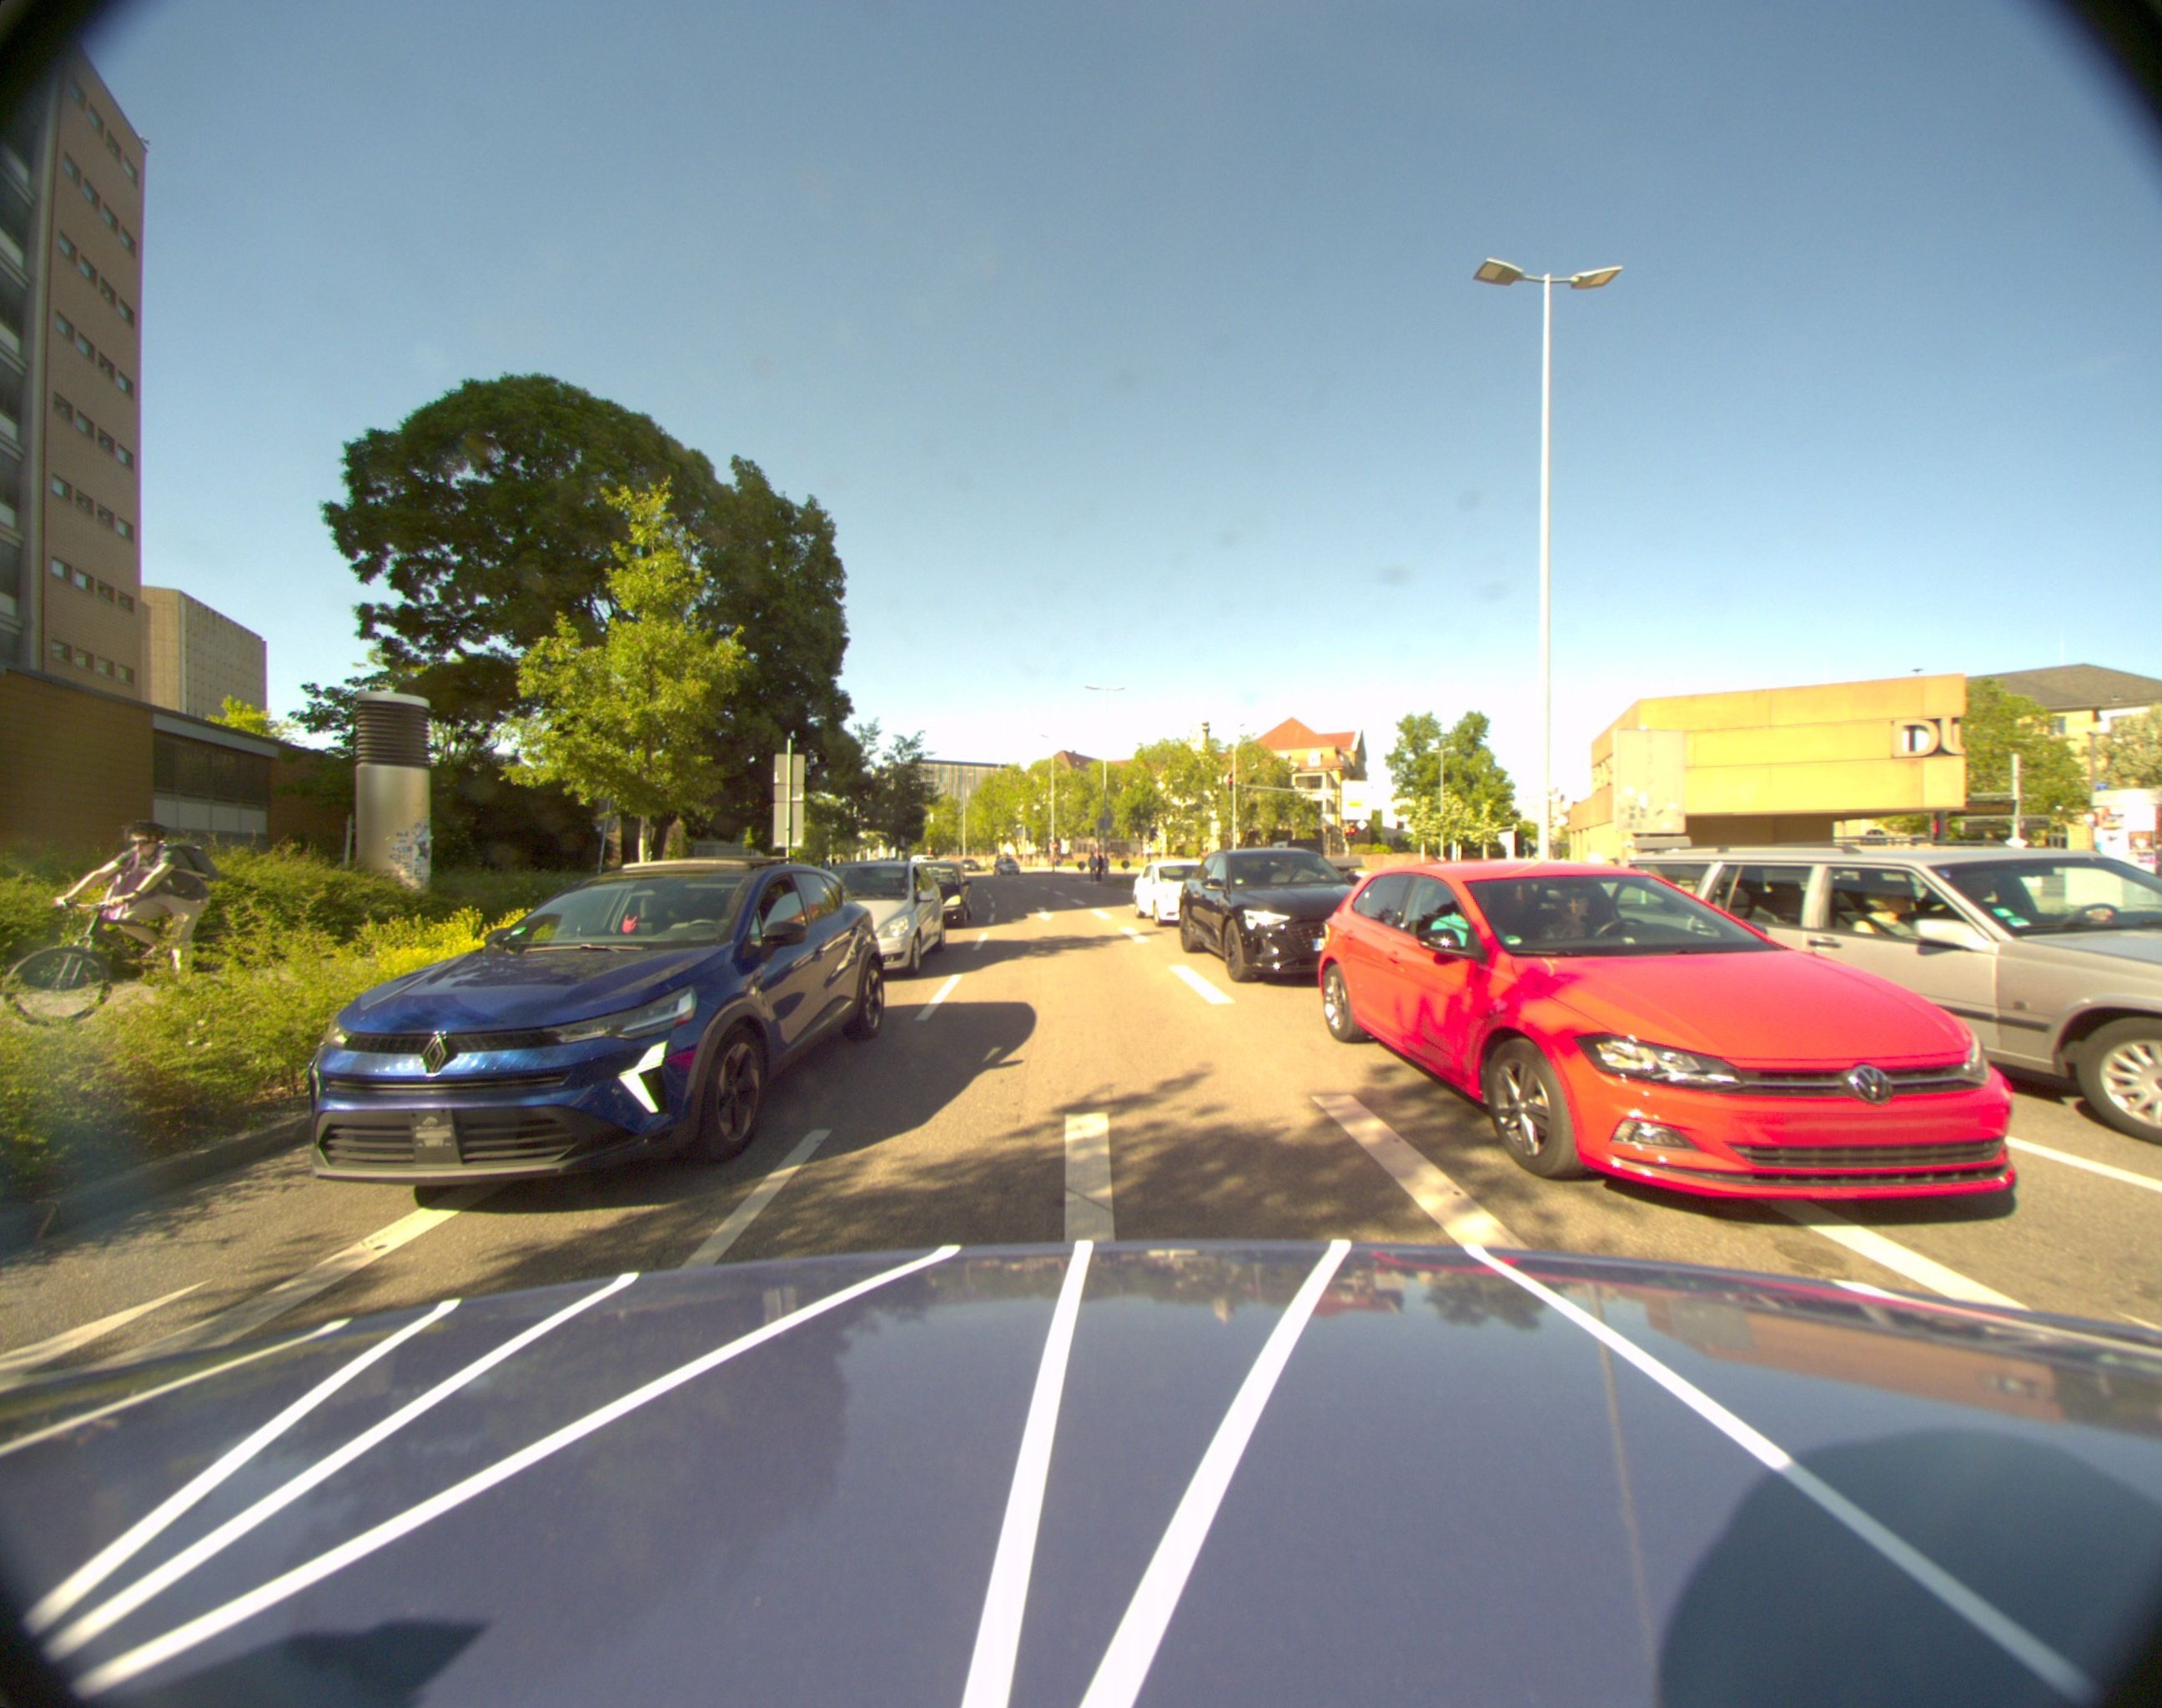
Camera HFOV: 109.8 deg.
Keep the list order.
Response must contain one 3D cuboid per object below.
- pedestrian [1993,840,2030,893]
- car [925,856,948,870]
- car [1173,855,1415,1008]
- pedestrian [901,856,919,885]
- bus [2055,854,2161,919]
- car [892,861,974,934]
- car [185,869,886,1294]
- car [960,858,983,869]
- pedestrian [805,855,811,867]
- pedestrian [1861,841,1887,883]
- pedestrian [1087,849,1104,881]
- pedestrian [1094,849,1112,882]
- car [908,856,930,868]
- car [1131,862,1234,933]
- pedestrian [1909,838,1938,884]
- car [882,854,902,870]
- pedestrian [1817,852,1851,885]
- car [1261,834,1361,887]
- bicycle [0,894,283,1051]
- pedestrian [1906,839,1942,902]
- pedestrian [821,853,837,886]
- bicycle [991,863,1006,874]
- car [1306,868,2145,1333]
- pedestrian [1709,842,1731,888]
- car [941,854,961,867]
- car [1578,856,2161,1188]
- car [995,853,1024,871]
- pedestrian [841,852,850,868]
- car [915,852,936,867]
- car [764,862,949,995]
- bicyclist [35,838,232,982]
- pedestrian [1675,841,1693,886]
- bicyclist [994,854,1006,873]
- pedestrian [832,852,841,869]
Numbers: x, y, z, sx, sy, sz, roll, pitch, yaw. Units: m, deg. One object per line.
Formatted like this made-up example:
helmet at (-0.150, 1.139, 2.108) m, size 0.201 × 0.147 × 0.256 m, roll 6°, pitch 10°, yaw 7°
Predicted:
pedestrian at (31.391, 0.414, 25.638) m, size 0.644 × 1.766 × 0.469 m, roll 0°, pitch 1°, yaw 21°
car at (-15.303, 0.954, 80.291) m, size 1.754 × 1.370 × 3.568 m, roll -1°, pitch 0°, yaw -20°
car at (2.563, 0.831, 10.373) m, size 1.859 × 1.606 × 4.452 m, roll 0°, pitch 0°, yaw -3°
pedestrian at (-9.397, 0.893, 41.765) m, size 0.694 × 1.594 × 0.659 m, roll -1°, pitch 1°, yaw -44°
bus at (21.684, 0.625, 14.117) m, size 1.646 × 1.234 × 4.181 m, roll 0°, pitch 0°, yaw -5°
car at (-3.570, 0.985, 18.803) m, size 1.651 × 1.601 × 3.488 m, roll 0°, pitch 0°, yaw -6°
car at (-2.690, 0.947, 5.068) m, size 1.705 × 1.596 × 4.084 m, roll -1°, pitch 0°, yaw 0°
car at (-12.278, 1.024, 84.846) m, size 1.587 × 1.197 × 3.992 m, roll 0°, pitch 0°, yaw -23°
pedestrian at (-45.093, 1.148, 125.389) m, size 0.823 × 1.906 × 0.770 m, roll -2°, pitch 1°, yaw -26°
pedestrian at (33.296, 0.337, 31.905) m, size 0.645 × 1.766 × 0.468 m, roll -1°, pitch 1°, yaw -4°
pedestrian at (0.846, 0.623, 44.522) m, size 0.887 × 1.814 × 0.776 m, roll -2°, pitch 1°, yaw -7°
pedestrian at (1.242, 0.636, 43.217) m, size 0.757 × 1.814 × 0.775 m, roll -2°, pitch 1°, yaw -18°
car at (-20.510, 1.018, 96.192) m, size 1.884 × 1.472 × 3.992 m, roll -2°, pitch 0°, yaw -24°
car at (2.262, 0.938, 17.849) m, size 1.575 × 1.410 × 3.711 m, roll -1°, pitch 0°, yaw -6°
pedestrian at (33.057, 0.274, 29.823) m, size 0.645 × 1.766 × 0.468 m, roll -1°, pitch 1°, yaw -4°
car at (-21.496, 0.893, 86.328) m, size 1.830 × 1.842 × 3.745 m, roll 0°, pitch 0°, yaw -21°
pedestrian at (30.140, 0.584, 30.403) m, size 0.645 × 1.303 × 0.763 m, roll -1°, pitch 0°, yaw 9°
car at (11.018, 0.292, 37.074) m, size 2.117 × 2.300 × 6.209 m, roll -1°, pitch 0°, yaw -10°
bicycle at (-8.989, 1.043, 7.297) m, size 0.692 × 1.211 × 1.835 m, roll 2°, pitch 0°, yaw 0°
pedestrian at (24.554, 0.477, 22.135) m, size 0.647 × 1.778 × 0.666 m, roll -3°, pitch 1°, yaw -42°
pedestrian at (-12.347, 0.771, 37.266) m, size 0.693 × 1.594 × 0.661 m, roll 0°, pitch 0°, yaw -14°
bicycle at (-6.965, 1.236, 64.444) m, size 0.591 × 0.884 × 1.651 m, roll -2°, pitch 1°, yaw -31°
car at (2.779, 0.874, 4.519) m, size 1.674 × 1.464 × 3.853 m, roll -2°, pitch 0°, yaw -1°
pedestrian at (24.635, 0.421, 29.296) m, size 0.644 × 1.766 × 0.618 m, roll 0°, pitch 1°, yaw 42°
car at (-16.334, 0.857, 95.409) m, size 1.598 × 1.596 × 3.066 m, roll -1°, pitch 0°, yaw -26°
car at (5.762, 0.786, 4.993) m, size 1.713 × 1.464 × 4.751 m, roll -3°, pitch 0°, yaw -2°
car at (-6.777, 0.744, 71.413) m, size 1.527 × 1.670 × 3.373 m, roll -3°, pitch 1°, yaw -27°
pedestrian at (-27.695, 0.717, 89.432) m, size 0.823 × 1.906 × 0.770 m, roll -2°, pitch 1°, yaw -28°
car at (-21.603, 0.785, 105.351) m, size 1.790 × 2.002 × 4.223 m, roll -2°, pitch 1°, yaw -26°
car at (-3.158, 0.955, 11.542) m, size 1.786 × 1.615 × 4.042 m, roll 0°, pitch 0°, yaw -3°
bicyclist at (-8.987, 0.503, 7.254) m, size 0.722 × 1.271 × 0.907 m, roll 2°, pitch 0°, yaw 0°
pedestrian at (24.059, 0.381, 30.310) m, size 0.467 × 1.766 × 0.647 m, roll 0°, pitch 1°, yaw 29°
bicyclist at (-6.879, 0.776, 64.358) m, size 0.696 × 1.549 × 0.814 m, roll -3°, pitch 1°, yaw -31°
pedestrian at (-28.705, 0.754, 89.256) m, size 0.823 × 1.906 × 0.770 m, roll -2°, pitch 1°, yaw -28°
